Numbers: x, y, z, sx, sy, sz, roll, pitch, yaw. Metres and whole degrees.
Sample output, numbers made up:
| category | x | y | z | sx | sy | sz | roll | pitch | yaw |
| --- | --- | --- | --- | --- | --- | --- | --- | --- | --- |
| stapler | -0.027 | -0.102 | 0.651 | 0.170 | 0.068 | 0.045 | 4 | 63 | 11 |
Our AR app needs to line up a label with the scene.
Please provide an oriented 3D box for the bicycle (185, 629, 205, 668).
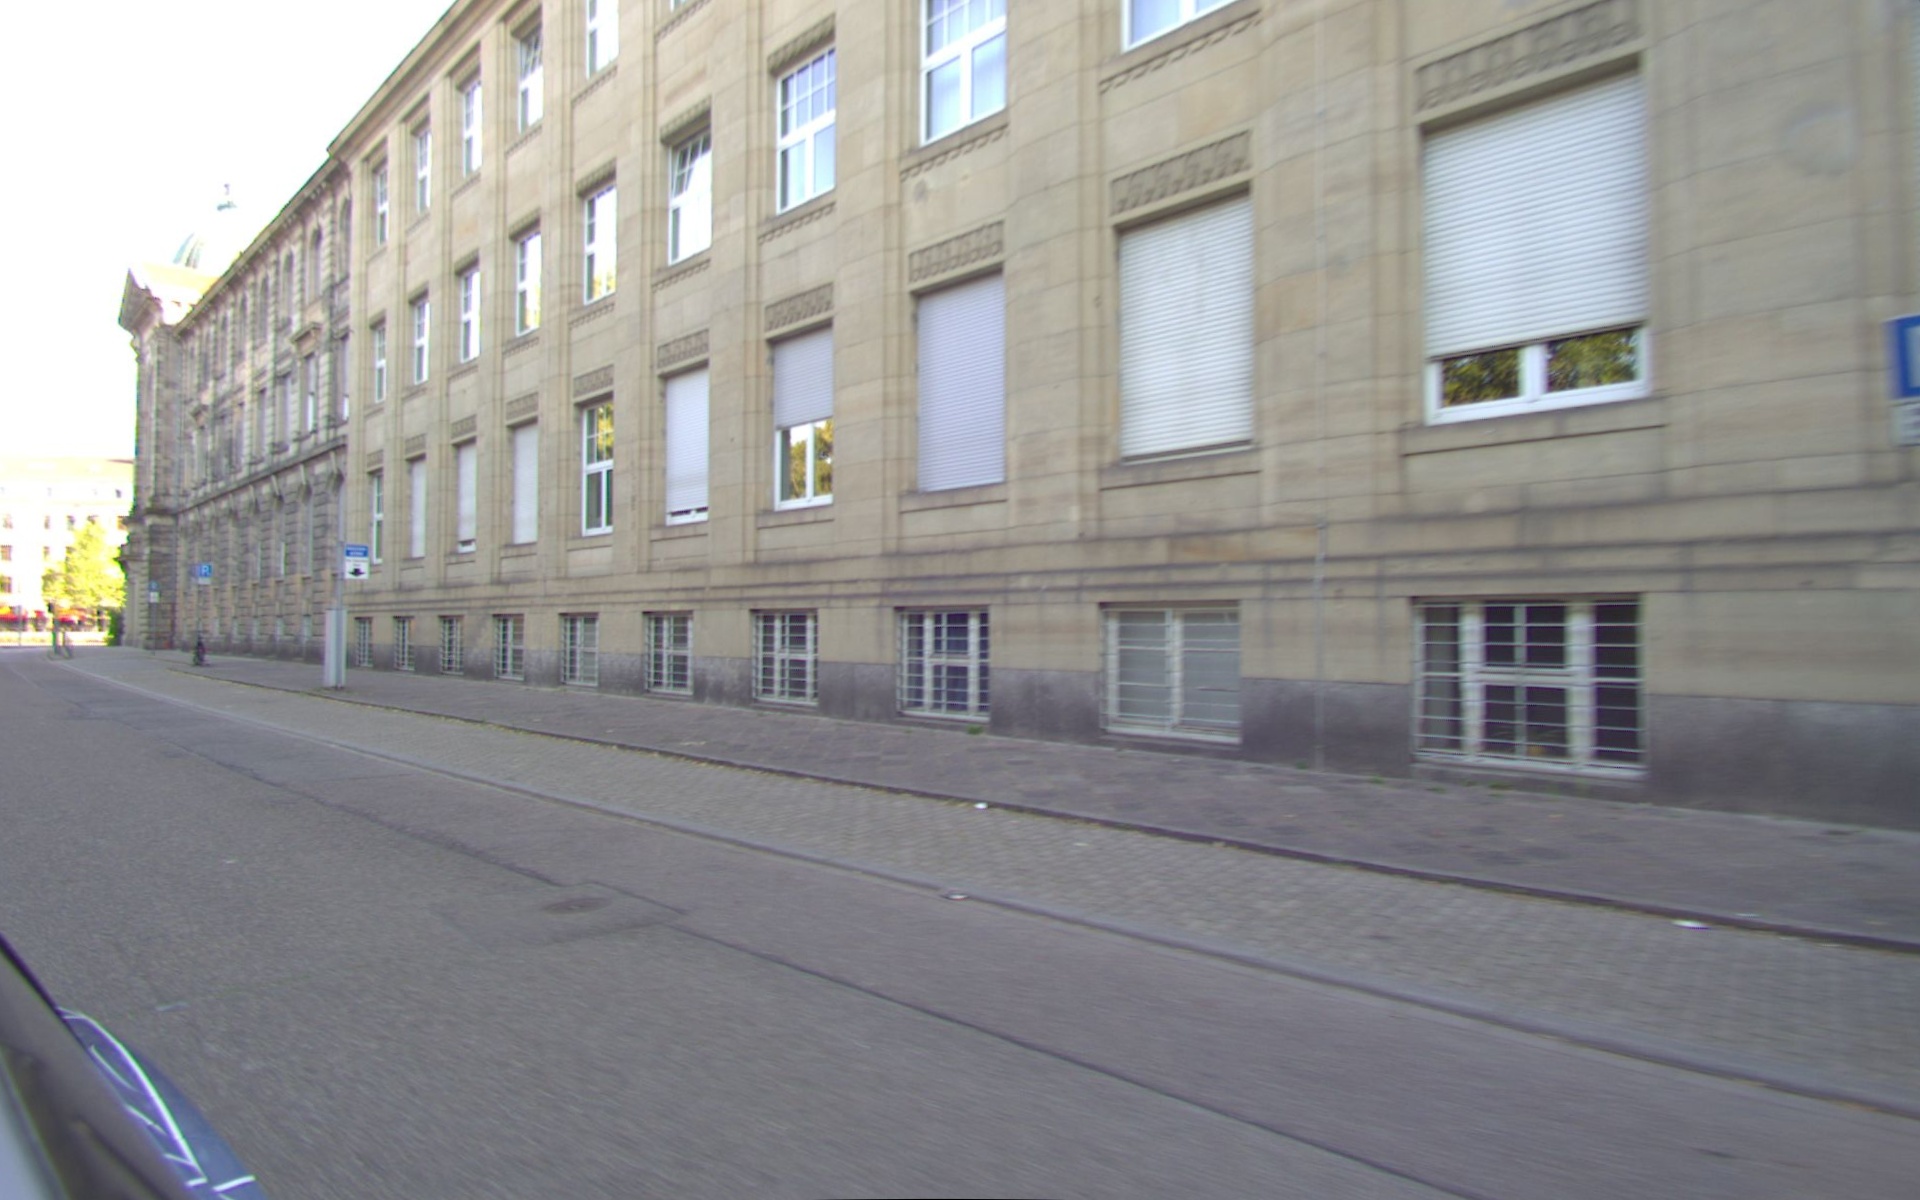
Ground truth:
| category | x | y | z | sx | sy | sz | roll | pitch | yaw |
| --- | --- | --- | --- | --- | --- | --- | --- | --- | --- |
| bicycle | -24.618 | 1.556 | 32.571 | 0.451 | 1.218 | 1.881 | 2 | -3 | -38 |
